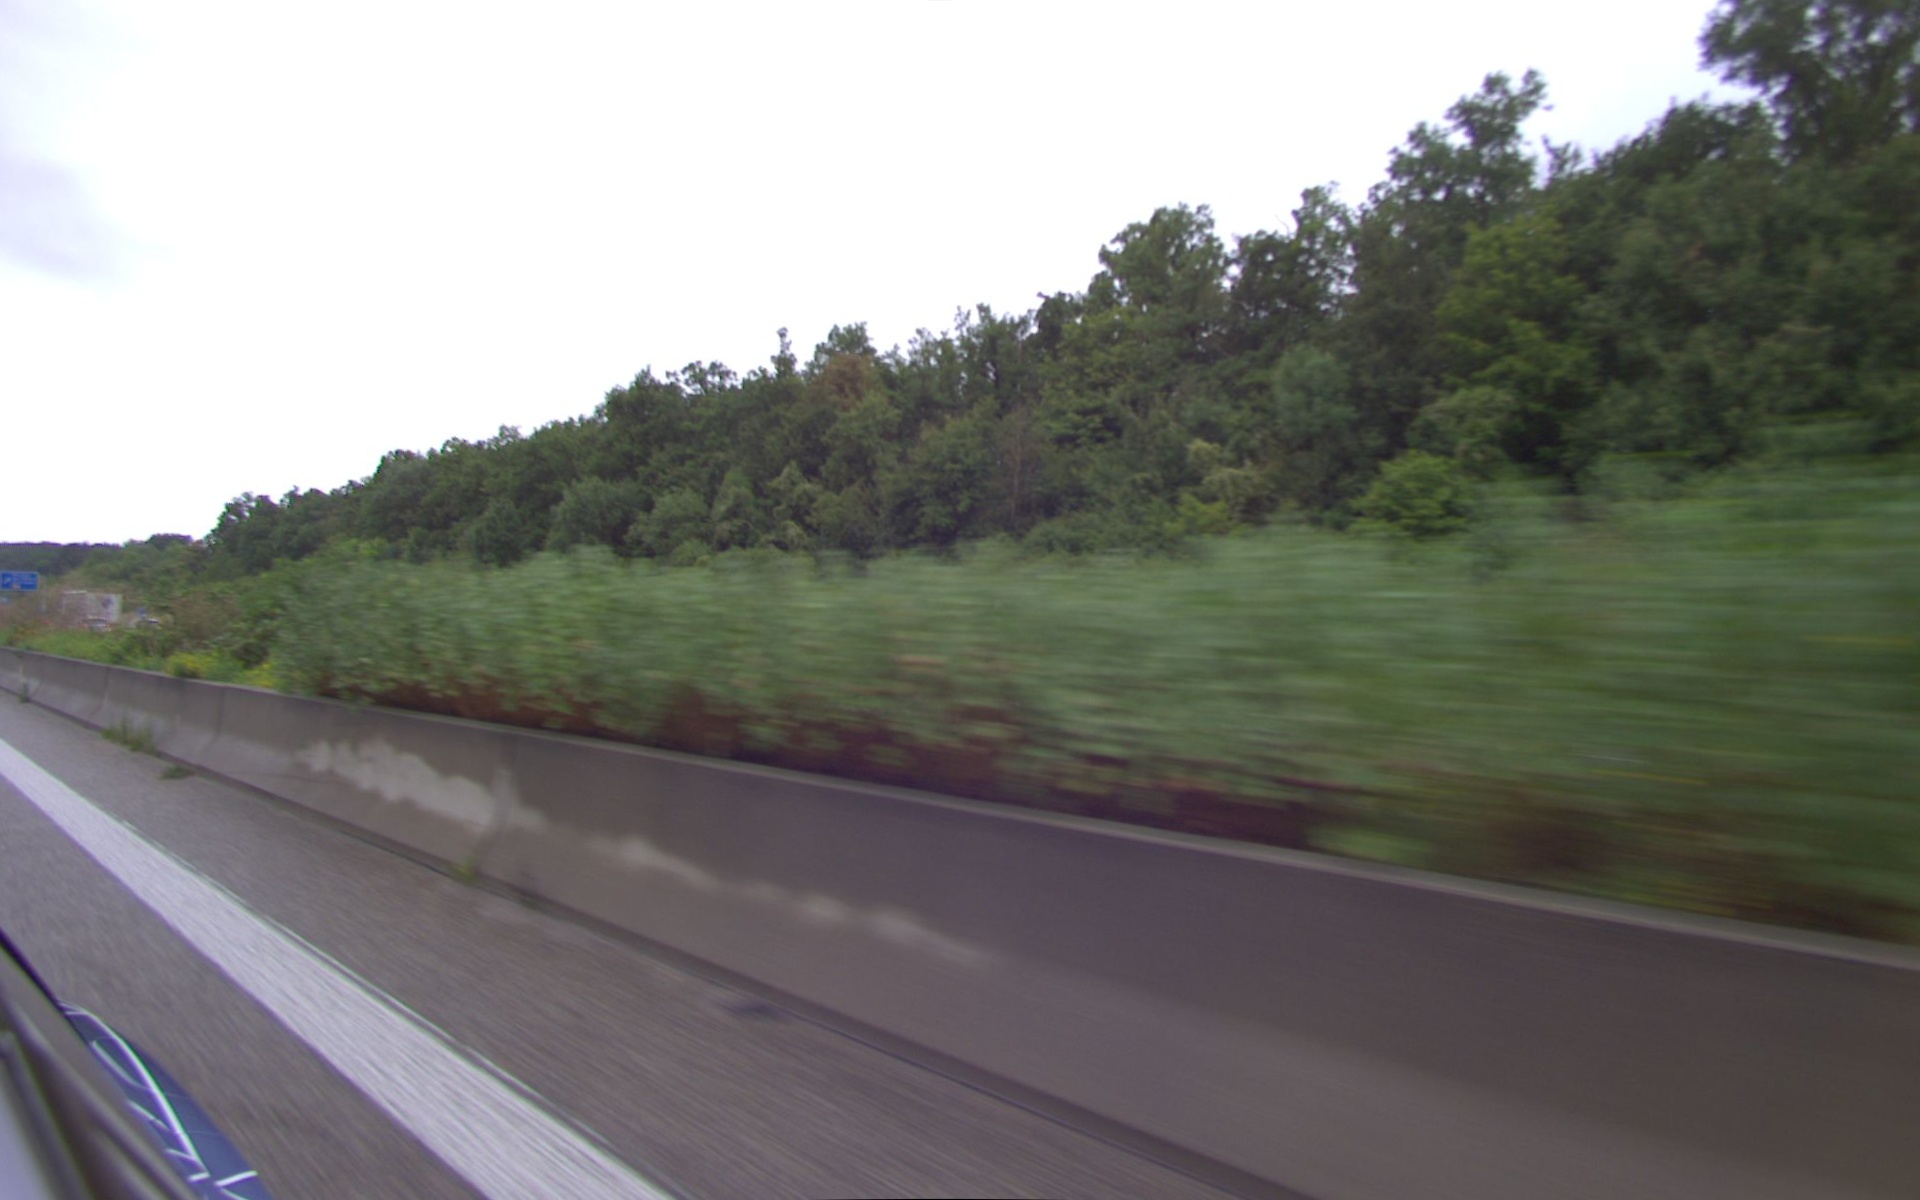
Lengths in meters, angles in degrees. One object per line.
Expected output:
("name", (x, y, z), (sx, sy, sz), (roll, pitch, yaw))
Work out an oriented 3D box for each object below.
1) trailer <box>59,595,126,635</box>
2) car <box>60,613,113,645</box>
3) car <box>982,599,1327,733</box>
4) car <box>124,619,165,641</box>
("trailer", (-80.045, 1.412, 93.221), (13.252, 3.512, 2.956), (-1, -2, 42))
("car", (-57.027, 1.889, 66.028), (4.654, 2.029, 1.972), (-1, -3, 42))
("car", (2.403, 0.766, 13.052), (3.998, 1.464, 1.855), (-1, -2, 41))
("car", (-62.282, 2.276, 77.271), (3.998, 1.614, 1.757), (-1, -2, 41))
